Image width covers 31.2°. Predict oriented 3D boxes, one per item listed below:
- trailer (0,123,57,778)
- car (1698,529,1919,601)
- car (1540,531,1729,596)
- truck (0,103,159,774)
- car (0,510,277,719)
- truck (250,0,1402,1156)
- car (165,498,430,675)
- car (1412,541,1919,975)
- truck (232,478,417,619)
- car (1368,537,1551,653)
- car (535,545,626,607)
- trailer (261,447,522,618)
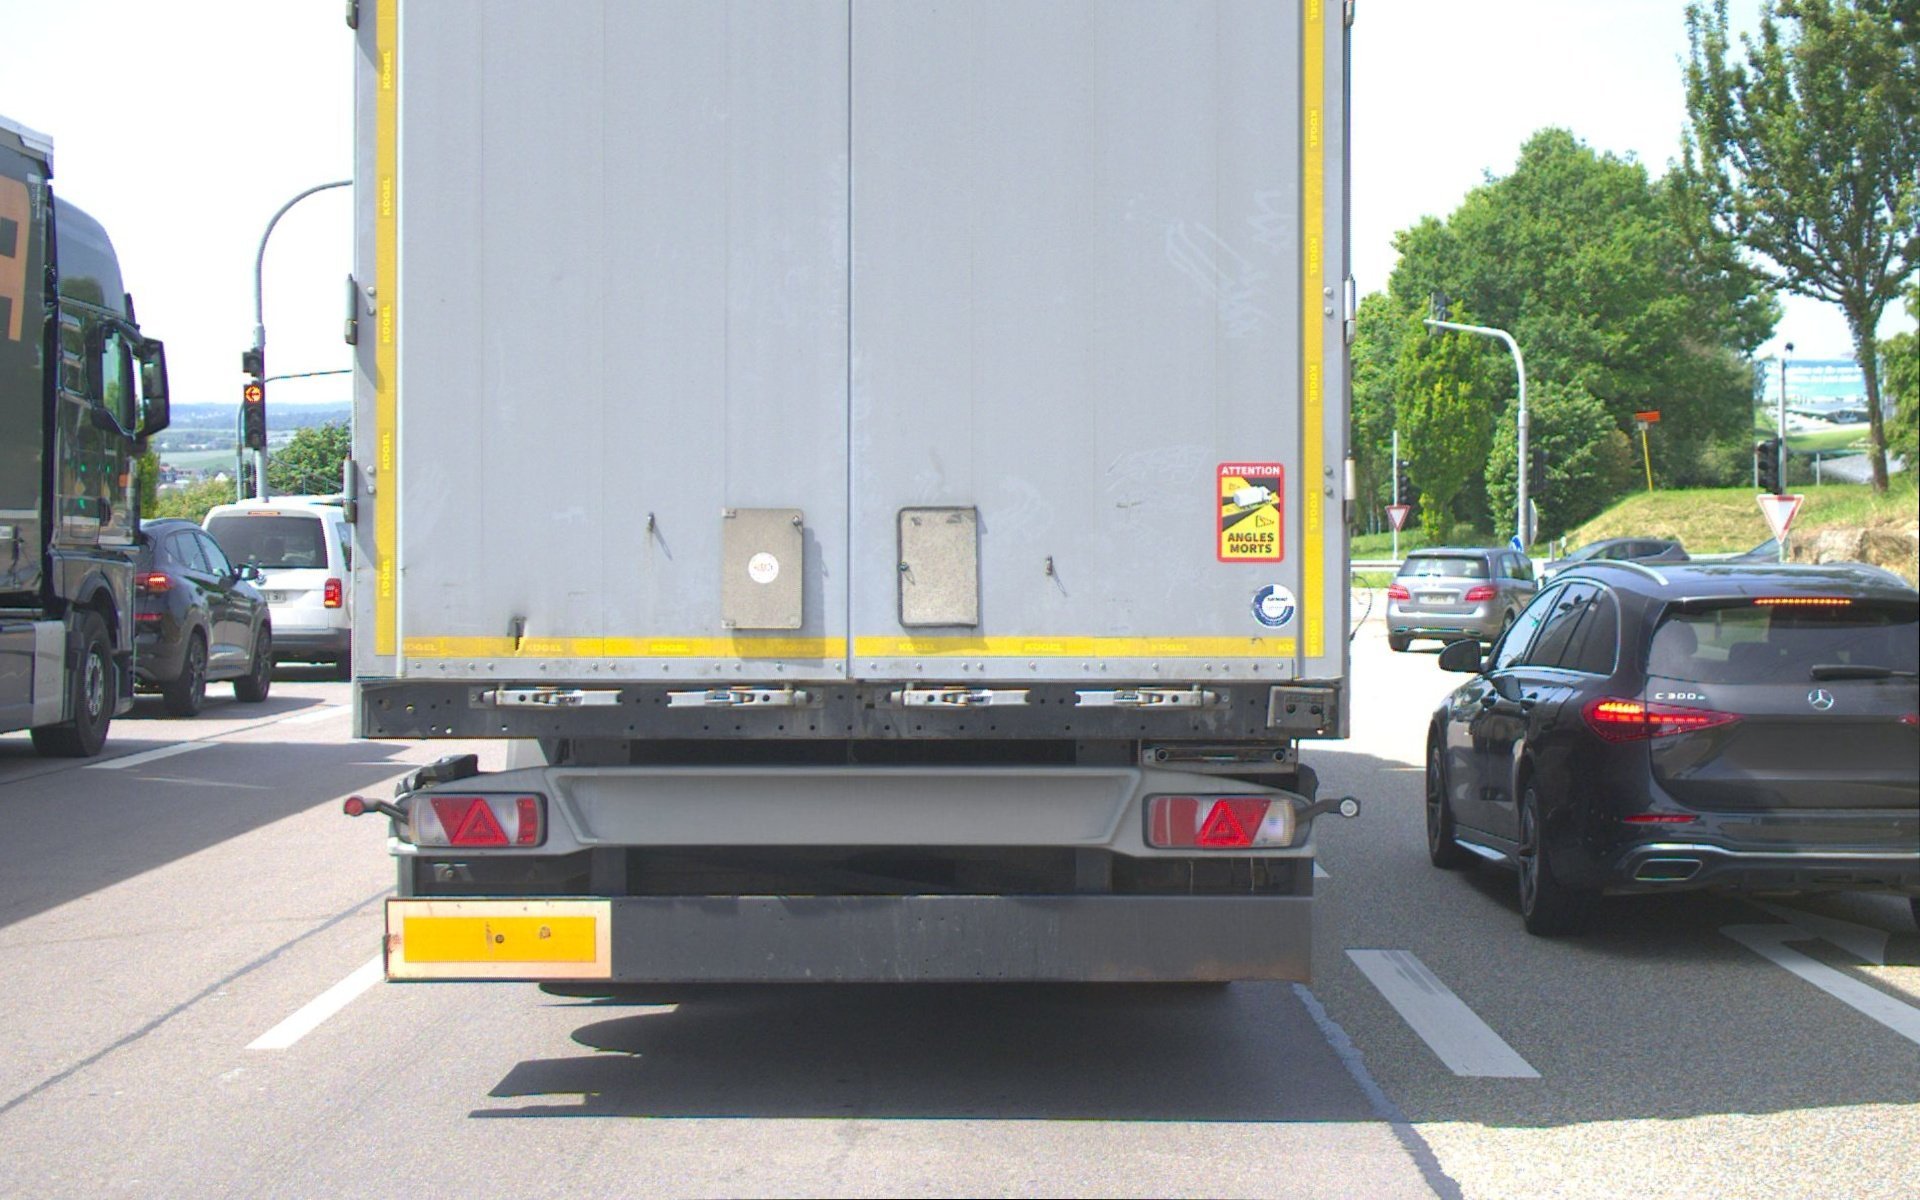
[{"bbox_3d":[-7.128,-0.808,14.800,2.783,3.900,13.787,1,1,0],"label":"trailer"},{"bbox_3d":[18.281,-0.755,73.964,4.357,1.505,1.717,0,1,-9],"label":"car"},{"bbox_3d":[15.744,-0.857,80.360,3.986,1.505,1.716,0,1,-7],"label":"car"},{"bbox_3d":[-7.119,-0.988,21.482,2.783,3.999,5.971,1,1,0],"label":"truck"},{"bbox_3d":[-7.170,0.071,29.614,1.856,1.652,4.349,1,1,-2],"label":"car"},{"bbox_3d":[-0.366,-0.673,14.135,2.799,3.916,11.342,1,1,0],"label":"truck"},{"bbox_3d":[-7.166,-0.187,37.659,1.768,1.792,4.752,1,1,3],"label":"car"},{"bbox_3d":[3.044,0.545,14.360,1.746,1.527,4.298,1,1,0],"label":"car"},{"bbox_3d":[-14.024,-1.123,76.282,2.799,3.003,5.989,0,0,2],"label":"truck"},{"bbox_3d":[7.455,-0.079,51.033,1.798,1.634,3.996,1,1,21],"label":"car"},{"bbox_3d":[-9.663,-0.626,87.733,1.737,1.523,4.000,1,1,2],"label":"car"},{"bbox_3d":[-13.807,-1.568,85.774,2.639,3.750,19.798,0,0,2],"label":"trailer"}]
